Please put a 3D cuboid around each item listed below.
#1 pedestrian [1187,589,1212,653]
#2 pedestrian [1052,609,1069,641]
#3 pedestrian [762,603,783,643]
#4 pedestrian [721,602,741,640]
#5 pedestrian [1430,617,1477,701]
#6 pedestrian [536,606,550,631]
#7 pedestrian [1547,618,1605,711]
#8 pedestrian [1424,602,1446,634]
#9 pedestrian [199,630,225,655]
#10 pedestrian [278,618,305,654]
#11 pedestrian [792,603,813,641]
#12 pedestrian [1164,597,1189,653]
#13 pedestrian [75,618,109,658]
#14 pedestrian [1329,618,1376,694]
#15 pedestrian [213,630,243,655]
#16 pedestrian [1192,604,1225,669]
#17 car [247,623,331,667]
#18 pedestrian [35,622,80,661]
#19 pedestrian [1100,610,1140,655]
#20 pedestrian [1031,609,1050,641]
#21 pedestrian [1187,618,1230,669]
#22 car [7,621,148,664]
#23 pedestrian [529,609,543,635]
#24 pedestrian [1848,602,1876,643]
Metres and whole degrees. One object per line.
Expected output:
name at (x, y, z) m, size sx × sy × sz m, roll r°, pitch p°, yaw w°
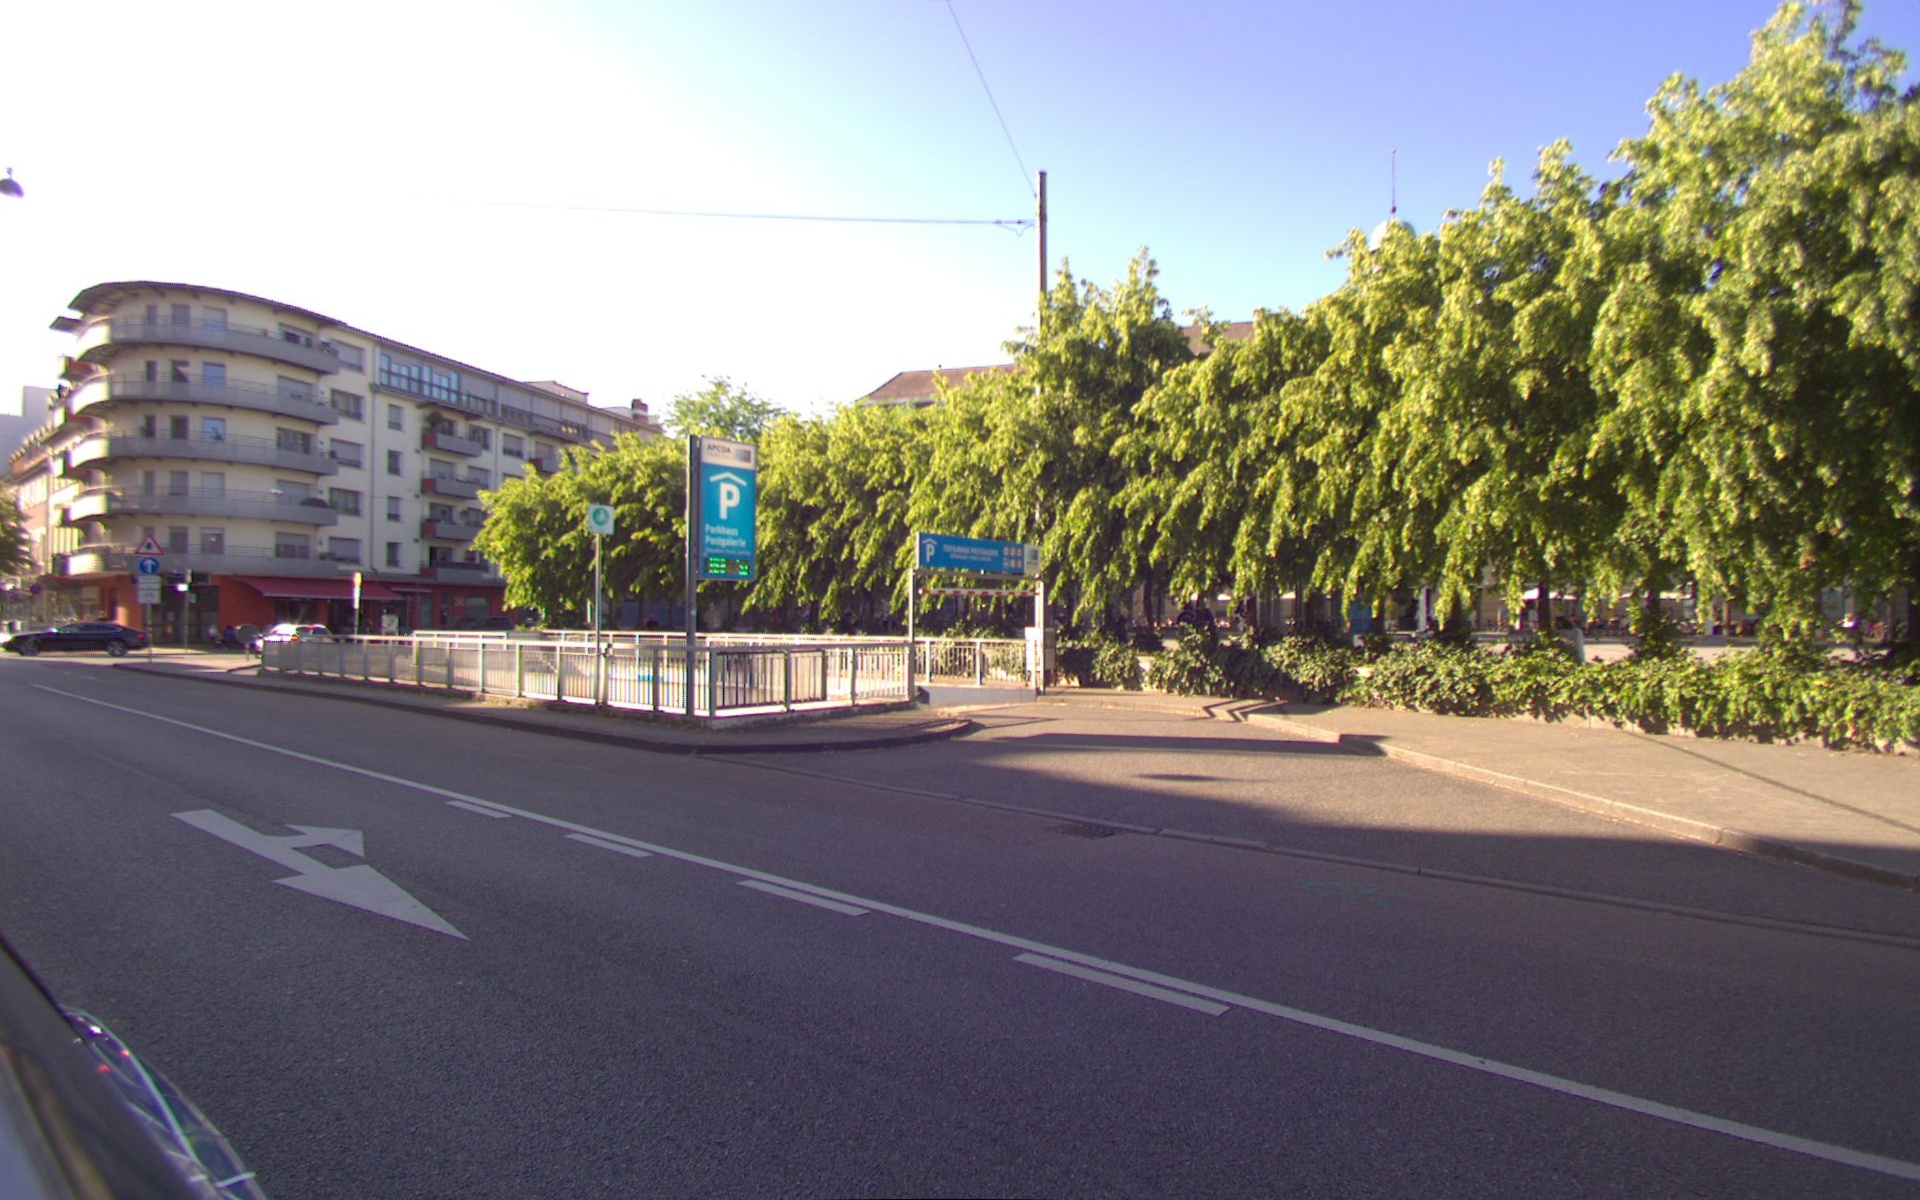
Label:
pedestrian at (6.050, 0.527, 25.564) m, size 0.522 × 1.594 × 0.680 m, roll -1°, pitch 0°, yaw 19°
pedestrian at (4.464, 1.107, 44.836) m, size 0.684 × 1.385 × 0.684 m, roll -1°, pitch 0°, yaw 1°
pedestrian at (-9.049, 1.101, 48.933) m, size 0.681 × 1.877 × 0.741 m, roll -1°, pitch 0°, yaw 27°
pedestrian at (-11.385, 1.029, 50.350) m, size 0.679 × 1.857 × 0.743 m, roll -1°, pitch 0°, yaw 19°
pedestrian at (8.741, 1.026, 17.918) m, size 0.621 × 1.447 × 0.645 m, roll -1°, pitch 0°, yaw 39°
pedestrian at (-31.315, 1.398, 76.072) m, size 0.684 × 1.857 × 0.737 m, roll -1°, pitch 0°, yaw 41°
pedestrian at (9.797, 1.013, 16.109) m, size 0.611 × 1.447 × 0.588 m, roll -1°, pitch 0°, yaw 14°
pedestrian at (23.594, 0.890, 50.300) m, size 0.672 × 1.536 × 0.696 m, roll -1°, pitch 0°, yaw -19°
pedestrian at (-37.648, 2.134, 50.962) m, size 0.882 × 1.207 × 0.772 m, roll -1°, pitch 0°, yaw 30°
pedestrian at (-33.863, 1.829, 51.273) m, size 0.946 × 1.762 × 1.065 m, roll -1°, pitch 0°, yaw -24°
pedestrian at (-7.775, 1.095, 49.911) m, size 0.681 × 1.857 × 0.741 m, roll -1°, pitch 0°, yaw 27°
pedestrian at (5.514, 0.630, 25.753) m, size 0.545 × 1.385 × 0.680 m, roll -1°, pitch 0°, yaw 19°
pedestrian at (-42.135, 1.837, 49.150) m, size 0.782 × 1.934 × 0.987 m, roll -1°, pitch 0°, yaw 9°
pedestrian at (7.514, 1.061, 19.365) m, size 0.622 × 1.409 × 0.644 m, roll -1°, pitch 0°, yaw 44°
pedestrian at (-36.827, 2.124, 50.918) m, size 0.827 × 1.207 × 0.931 m, roll -1°, pitch 0°, yaw 16°
pedestrian at (5.868, 0.851, 23.868) m, size 0.688 × 1.511 × 0.680 m, roll -1°, pitch 0°, yaw 19°
car at (-25.825, 1.681, 38.926) m, size 3.904 × 1.542 × 1.617 m, roll -1°, pitch 0°, yaw 39°
pedestrian at (-41.139, 1.870, 46.140) m, size 1.054 × 1.732 × 1.081 m, roll -1°, pitch 0°, yaw -1°
pedestrian at (3.991, 0.798, 25.220) m, size 0.682 × 1.079 × 0.686 m, roll -1°, pitch 0°, yaw -29°
pedestrian at (3.568, 1.119, 44.873) m, size 0.752 × 1.385 × 0.684 m, roll -1°, pitch 0°, yaw 1°
pedestrian at (5.500, 0.959, 22.415) m, size 0.682 × 1.079 × 0.686 m, roll -1°, pitch 0°, yaw -13°
car at (-35.885, 1.690, 41.286) m, size 4.180 × 1.542 × 1.681 m, roll -1°, pitch 0°, yaw -36°
pedestrian at (-30.806, 1.574, 73.513) m, size 0.737 × 1.857 × 0.684 m, roll -1°, pitch 0°, yaw -1°
pedestrian at (35.265, 0.872, 39.568) m, size 0.728 × 1.542 × 0.695 m, roll -1°, pitch 0°, yaw -38°
